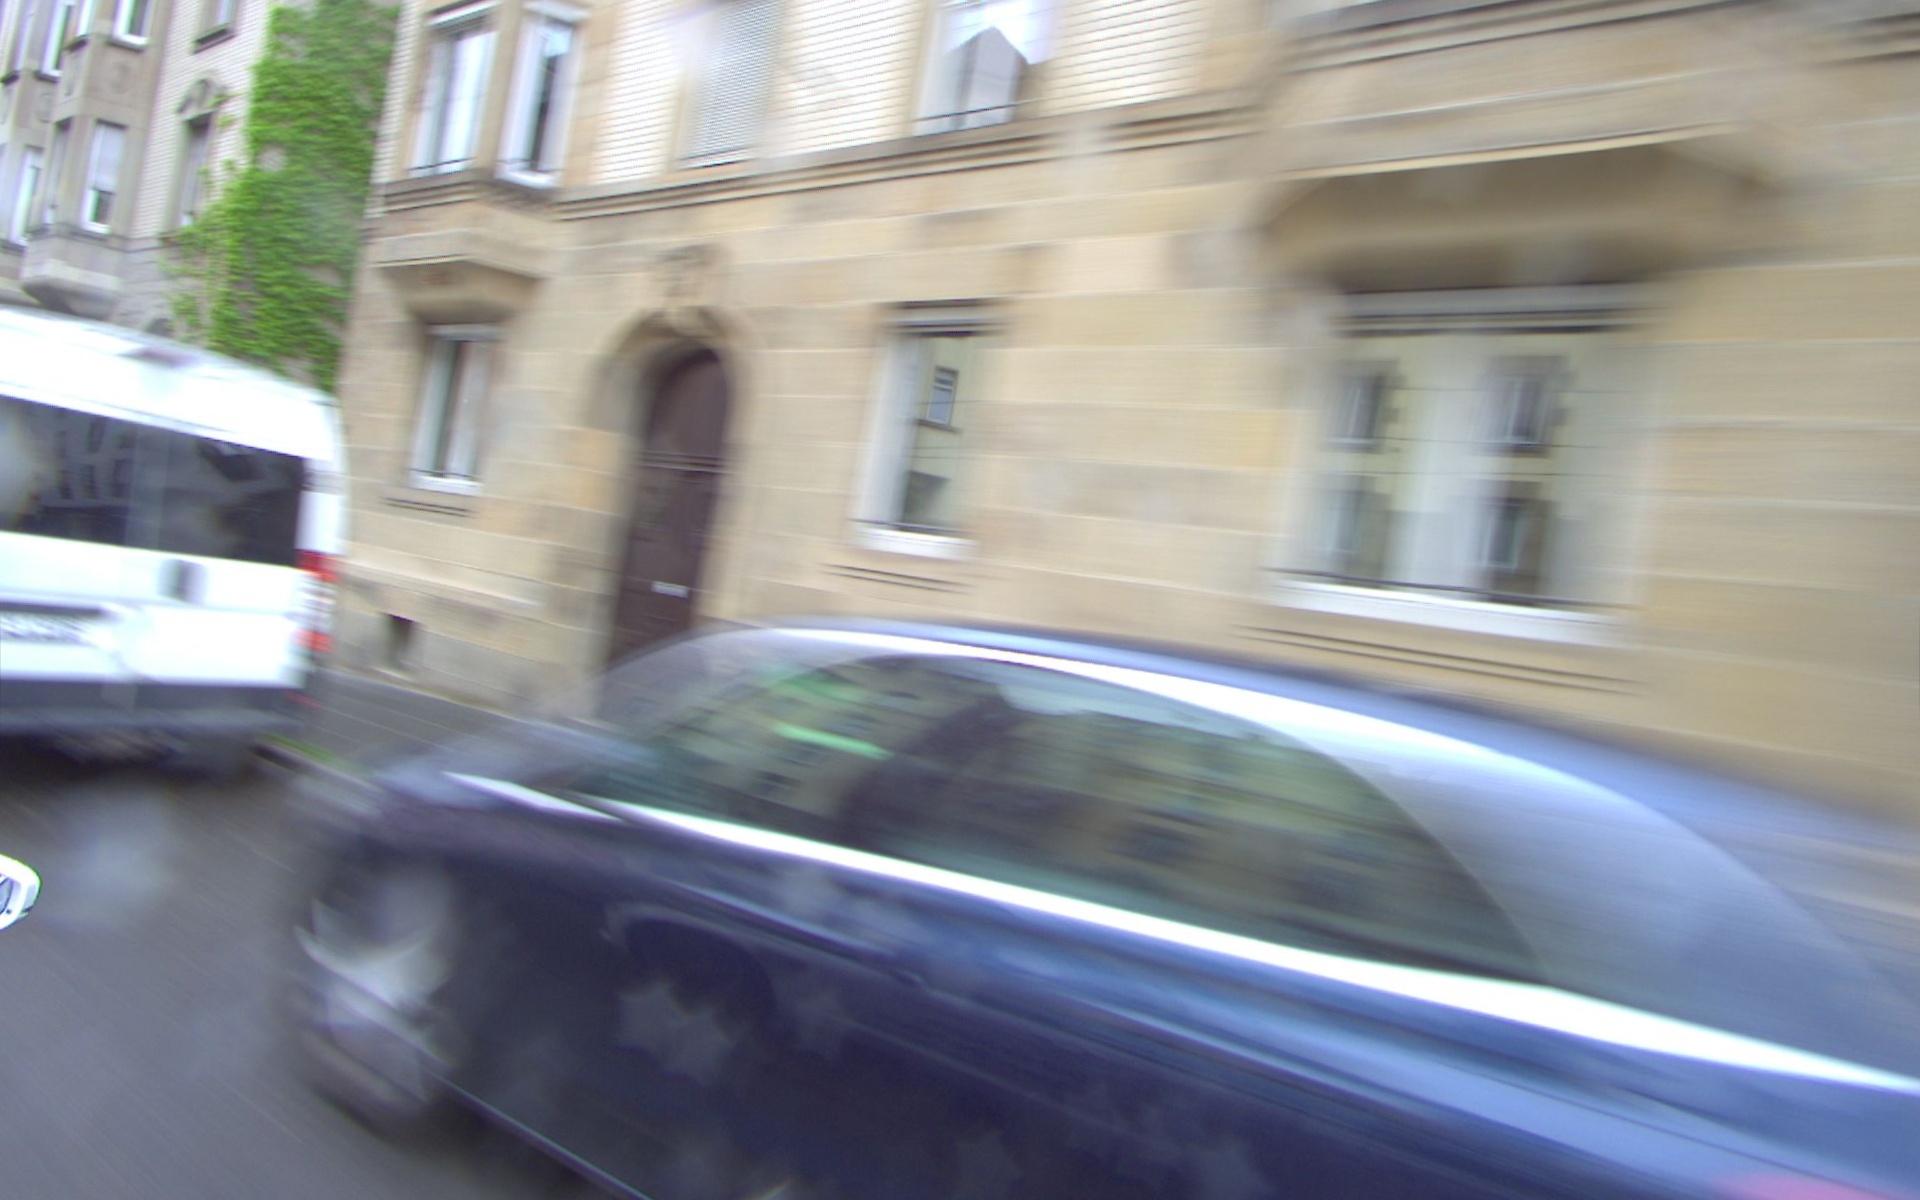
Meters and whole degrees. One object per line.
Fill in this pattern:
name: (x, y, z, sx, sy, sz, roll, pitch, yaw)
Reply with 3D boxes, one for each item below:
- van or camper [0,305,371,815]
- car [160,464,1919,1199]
van or camper: (-6.911, -0.400, 7.092, 6.019, 2.497, 2.068, 7, -2, 33)
car: (-0.138, 0.805, 2.788, 4.409, 1.828, 1.773, 7, -3, 33)
